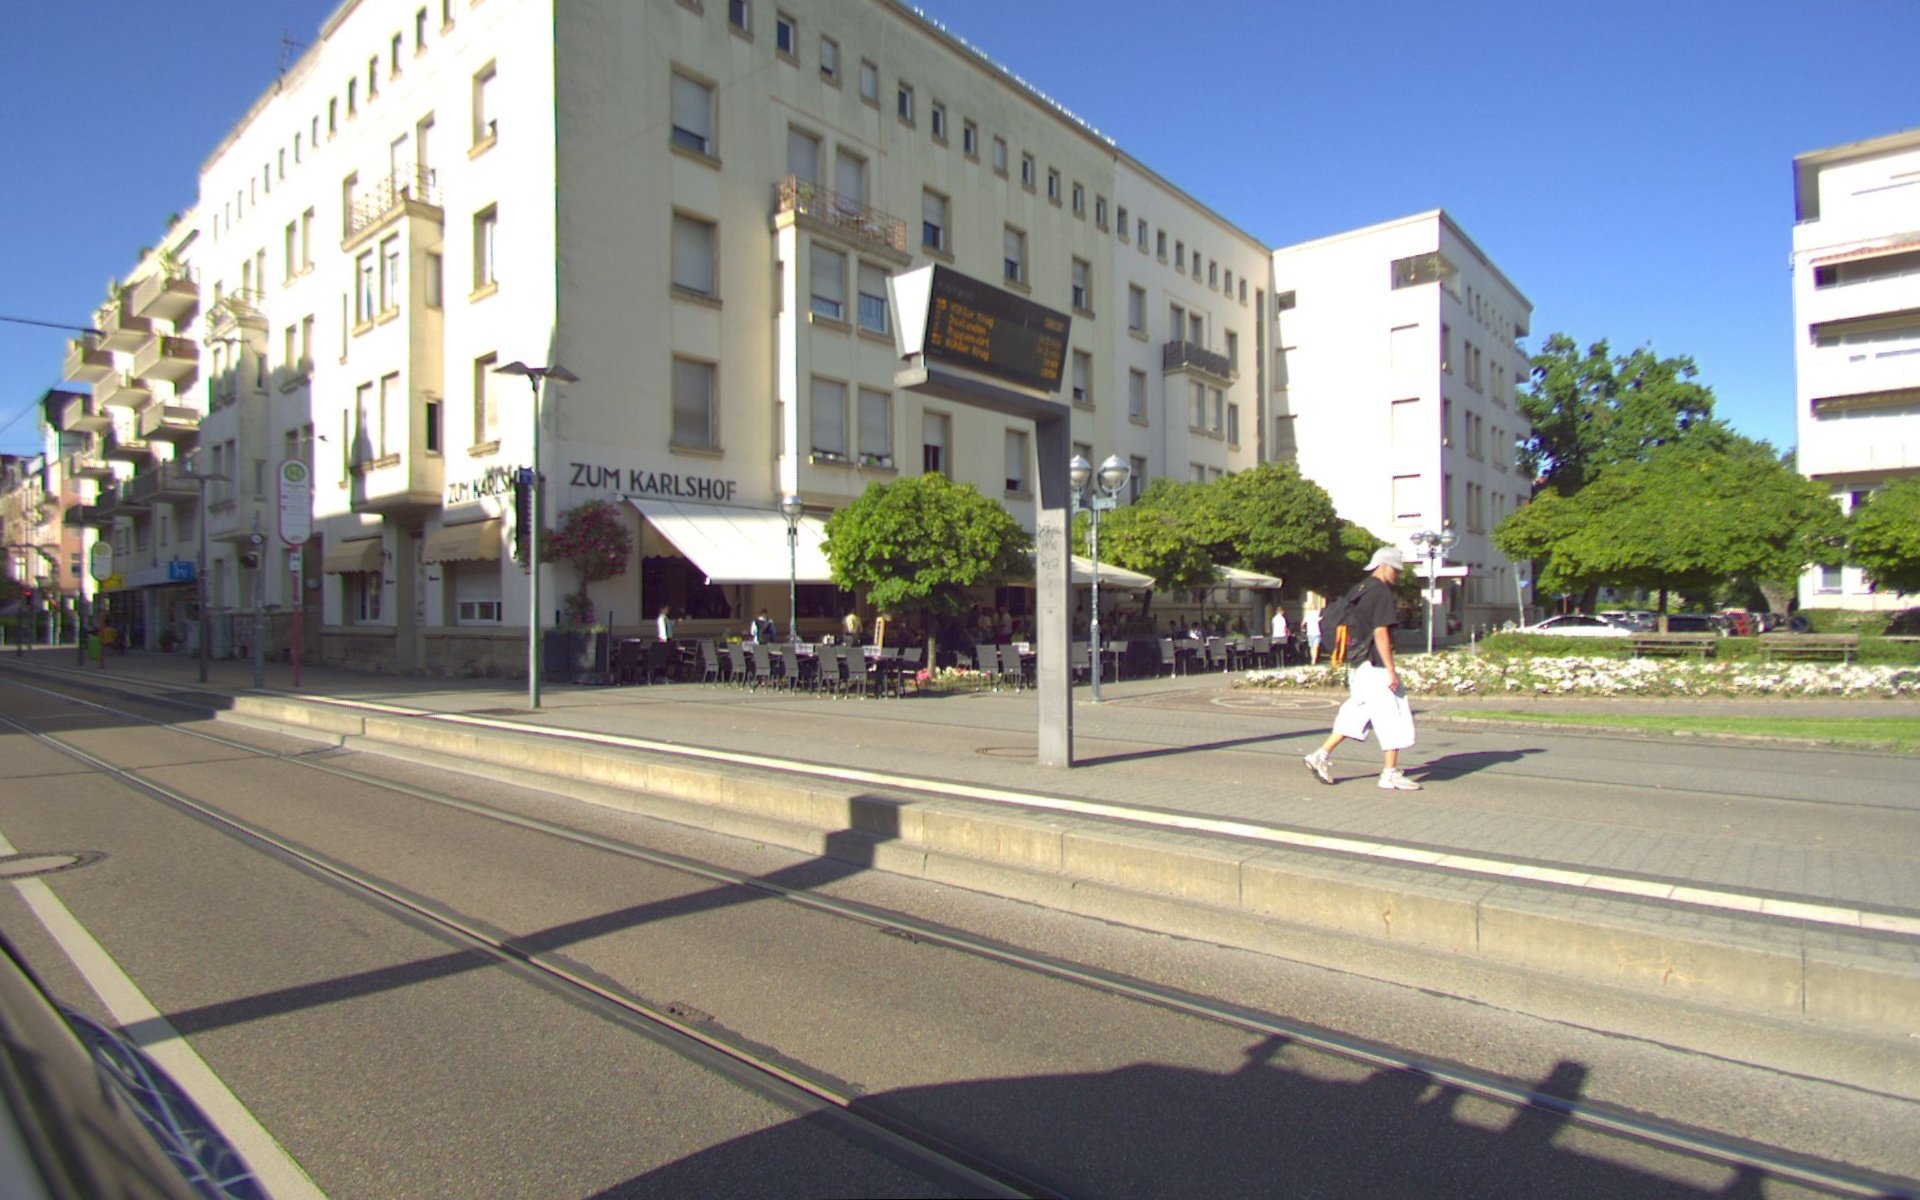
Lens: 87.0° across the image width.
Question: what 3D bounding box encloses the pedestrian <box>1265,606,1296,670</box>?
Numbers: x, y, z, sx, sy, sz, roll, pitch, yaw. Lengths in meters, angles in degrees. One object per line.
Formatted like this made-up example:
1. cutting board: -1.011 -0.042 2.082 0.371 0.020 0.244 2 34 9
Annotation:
1. pedestrian: 8.982 1.078 28.397 0.677 1.750 0.671 -3 -4 14

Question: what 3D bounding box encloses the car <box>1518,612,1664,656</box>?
1. car: 20.245 1.078 32.507 3.713 1.310 1.973 -1 -1 41

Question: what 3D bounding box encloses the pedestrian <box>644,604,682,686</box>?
1. pedestrian: -6.164 0.941 20.982 0.662 1.657 0.753 0 -4 -22

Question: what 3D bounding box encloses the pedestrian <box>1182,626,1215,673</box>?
1. pedestrian: 6.721 1.395 28.499 0.672 1.280 0.636 -5 -5 36

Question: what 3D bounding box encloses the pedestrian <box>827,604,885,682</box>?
1. pedestrian: -2.254 0.917 22.011 0.755 1.657 1.054 -1 -2 36

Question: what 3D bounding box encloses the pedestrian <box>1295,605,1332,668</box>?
1. pedestrian: 9.959 1.034 28.503 0.710 1.750 0.673 -2 -4 1

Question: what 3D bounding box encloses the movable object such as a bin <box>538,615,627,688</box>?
1. movable object such as a bin: -7.558 1.006 20.295 1.127 1.410 1.302 -1 -2 40

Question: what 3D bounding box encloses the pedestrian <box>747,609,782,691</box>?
1. pedestrian: -4.048 1.043 20.980 0.663 1.657 0.678 -1 -4 -9

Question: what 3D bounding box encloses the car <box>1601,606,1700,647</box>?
1. car: 26.262 1.017 38.522 2.932 1.497 1.399 -2 -2 41

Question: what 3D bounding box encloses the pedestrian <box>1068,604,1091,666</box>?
1. pedestrian: 3.589 1.041 30.314 0.641 1.837 0.576 -1 -1 5

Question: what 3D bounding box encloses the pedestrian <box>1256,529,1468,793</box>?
1. pedestrian: 2.777 0.412 7.101 0.958 1.693 0.998 1 -2 -12
